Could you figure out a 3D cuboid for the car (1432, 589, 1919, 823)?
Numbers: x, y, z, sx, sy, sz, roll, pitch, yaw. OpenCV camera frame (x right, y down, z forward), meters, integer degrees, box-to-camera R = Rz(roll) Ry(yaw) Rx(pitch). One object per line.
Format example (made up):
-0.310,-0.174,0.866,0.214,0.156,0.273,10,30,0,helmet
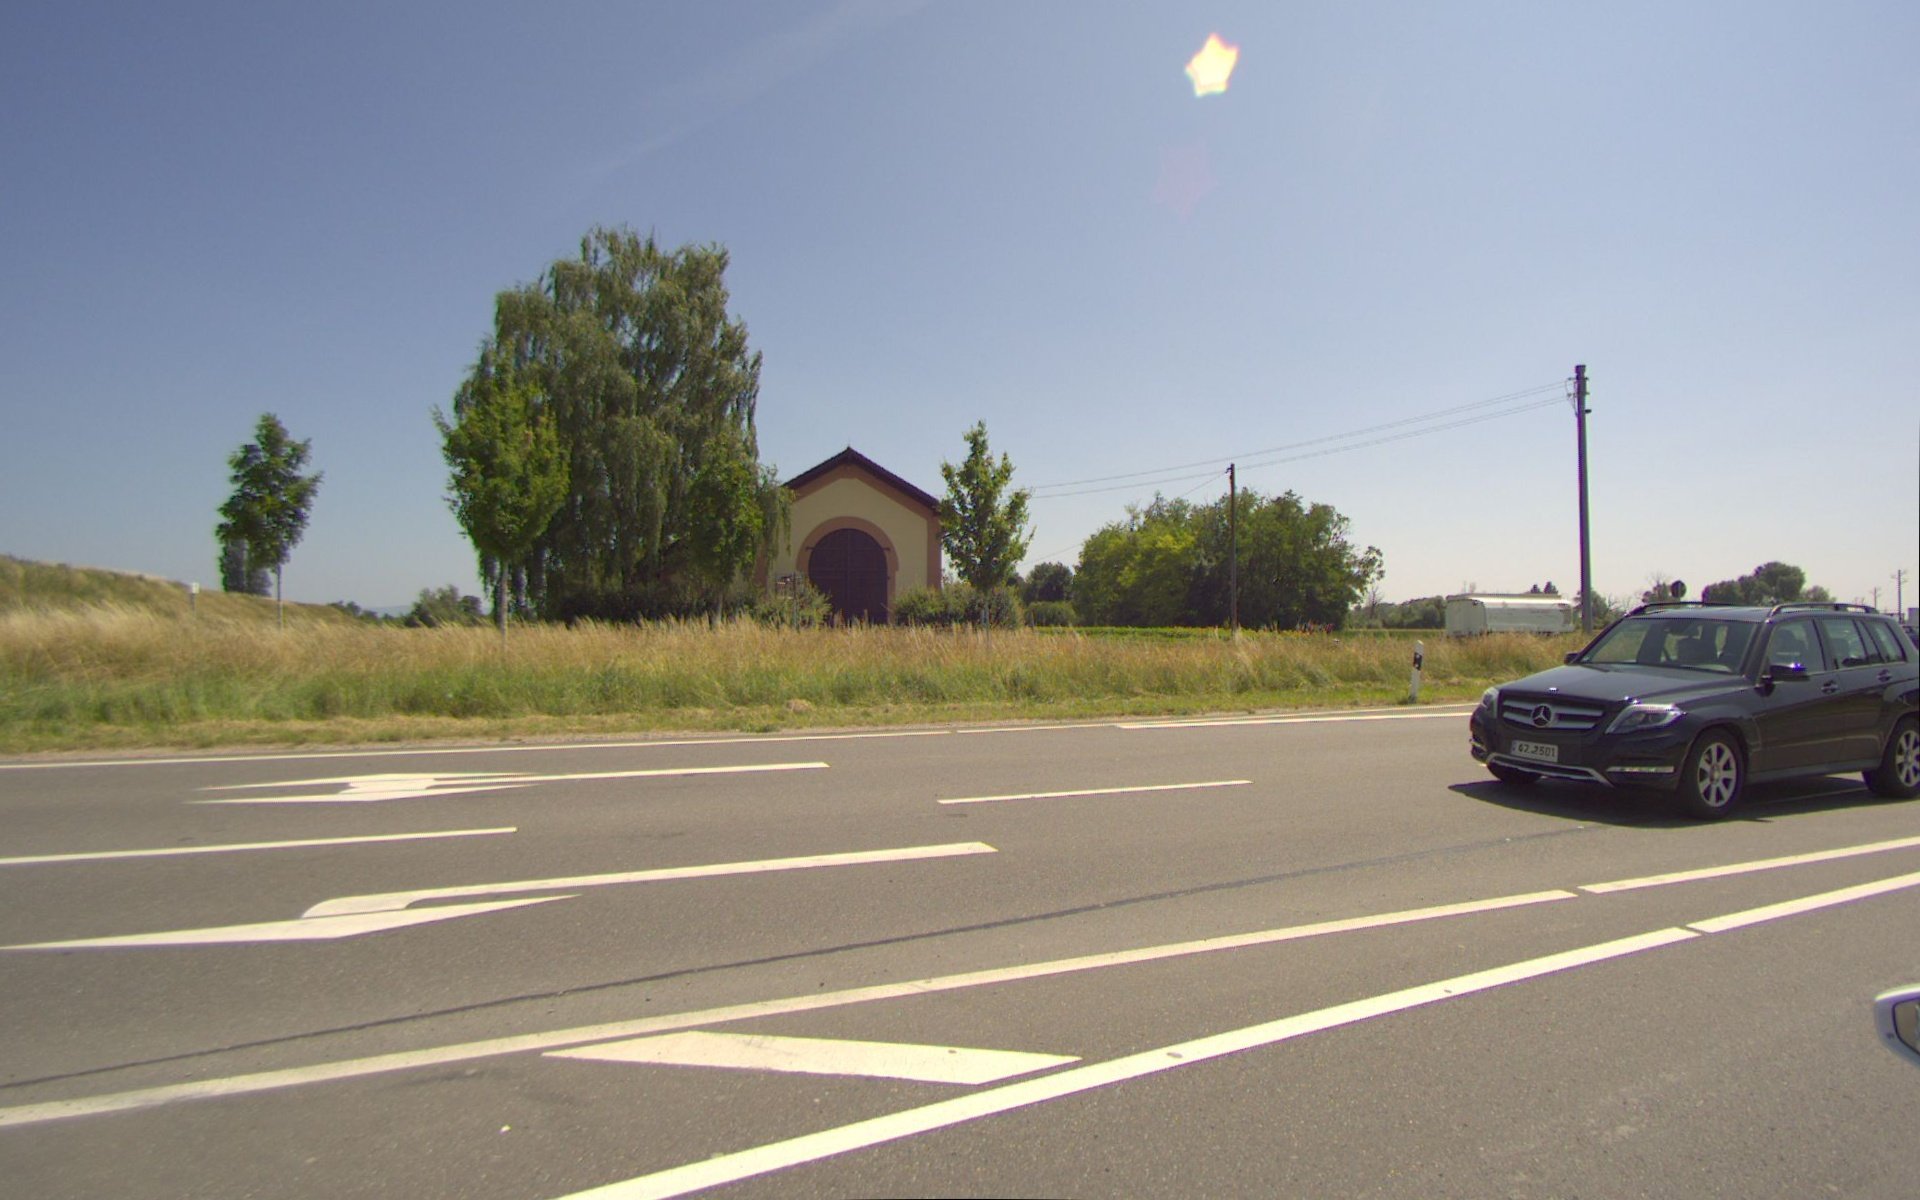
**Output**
6.492,0.817,8.891,4.267,1.672,1.861,2,-1,-24,car

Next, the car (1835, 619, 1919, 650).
44.219,1.653,48.109,3.775,1.405,1.674,1,0,-15,car

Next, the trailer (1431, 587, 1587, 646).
24.755,0.731,45.298,6.283,2.488,2.675,0,0,-19,trailer
